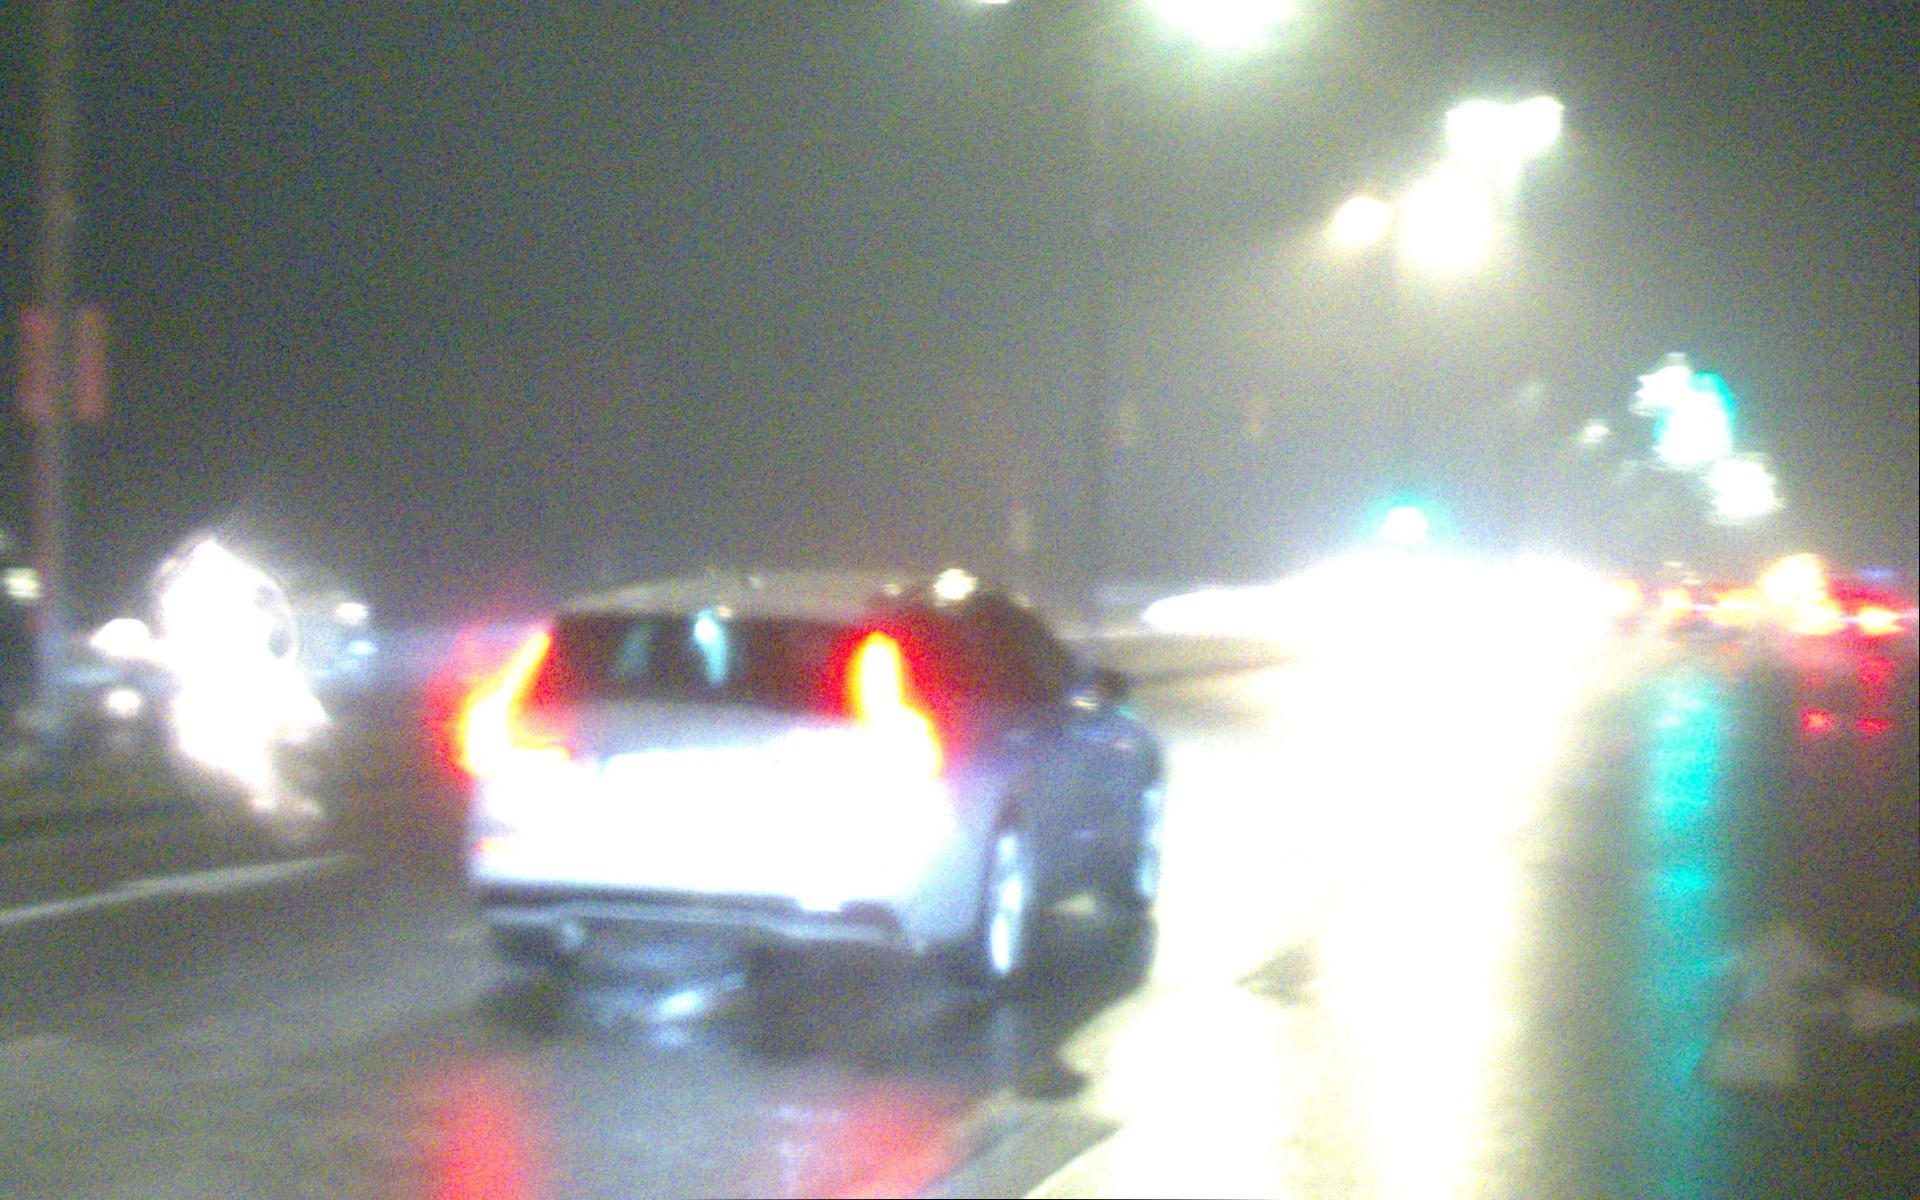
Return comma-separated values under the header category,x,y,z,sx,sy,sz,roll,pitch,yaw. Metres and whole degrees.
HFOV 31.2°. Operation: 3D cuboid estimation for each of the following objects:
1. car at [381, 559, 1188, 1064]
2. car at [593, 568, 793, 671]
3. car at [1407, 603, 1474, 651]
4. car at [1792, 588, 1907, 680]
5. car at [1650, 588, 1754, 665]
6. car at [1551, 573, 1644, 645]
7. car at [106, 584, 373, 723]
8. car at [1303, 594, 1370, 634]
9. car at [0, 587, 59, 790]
category,x,y,z,sx,sy,sz,roll,pitch,yaw
car,-0.452,0.632,13.003,1.798,1.447,4.266,3,2,15
car,-4.362,0.318,56.918,1.885,1.525,4.428,3,1,14
car,15.176,0.833,108.499,1.591,1.422,3.348,2,1,16
car,18.626,0.729,71.859,1.912,1.596,3.996,6,-1,19
car,18.729,0.684,86.621,2.179,1.596,3.996,6,-1,16
car,17.267,0.260,92.992,2.179,1.596,3.997,6,-1,12
car,-8.893,0.630,42.760,1.494,1.597,4.143,2,1,15
car,12.104,0.436,110.380,1.644,1.199,3.612,2,0,14
car,-9.080,0.699,27.427,1.799,1.660,4.485,3,1,11
